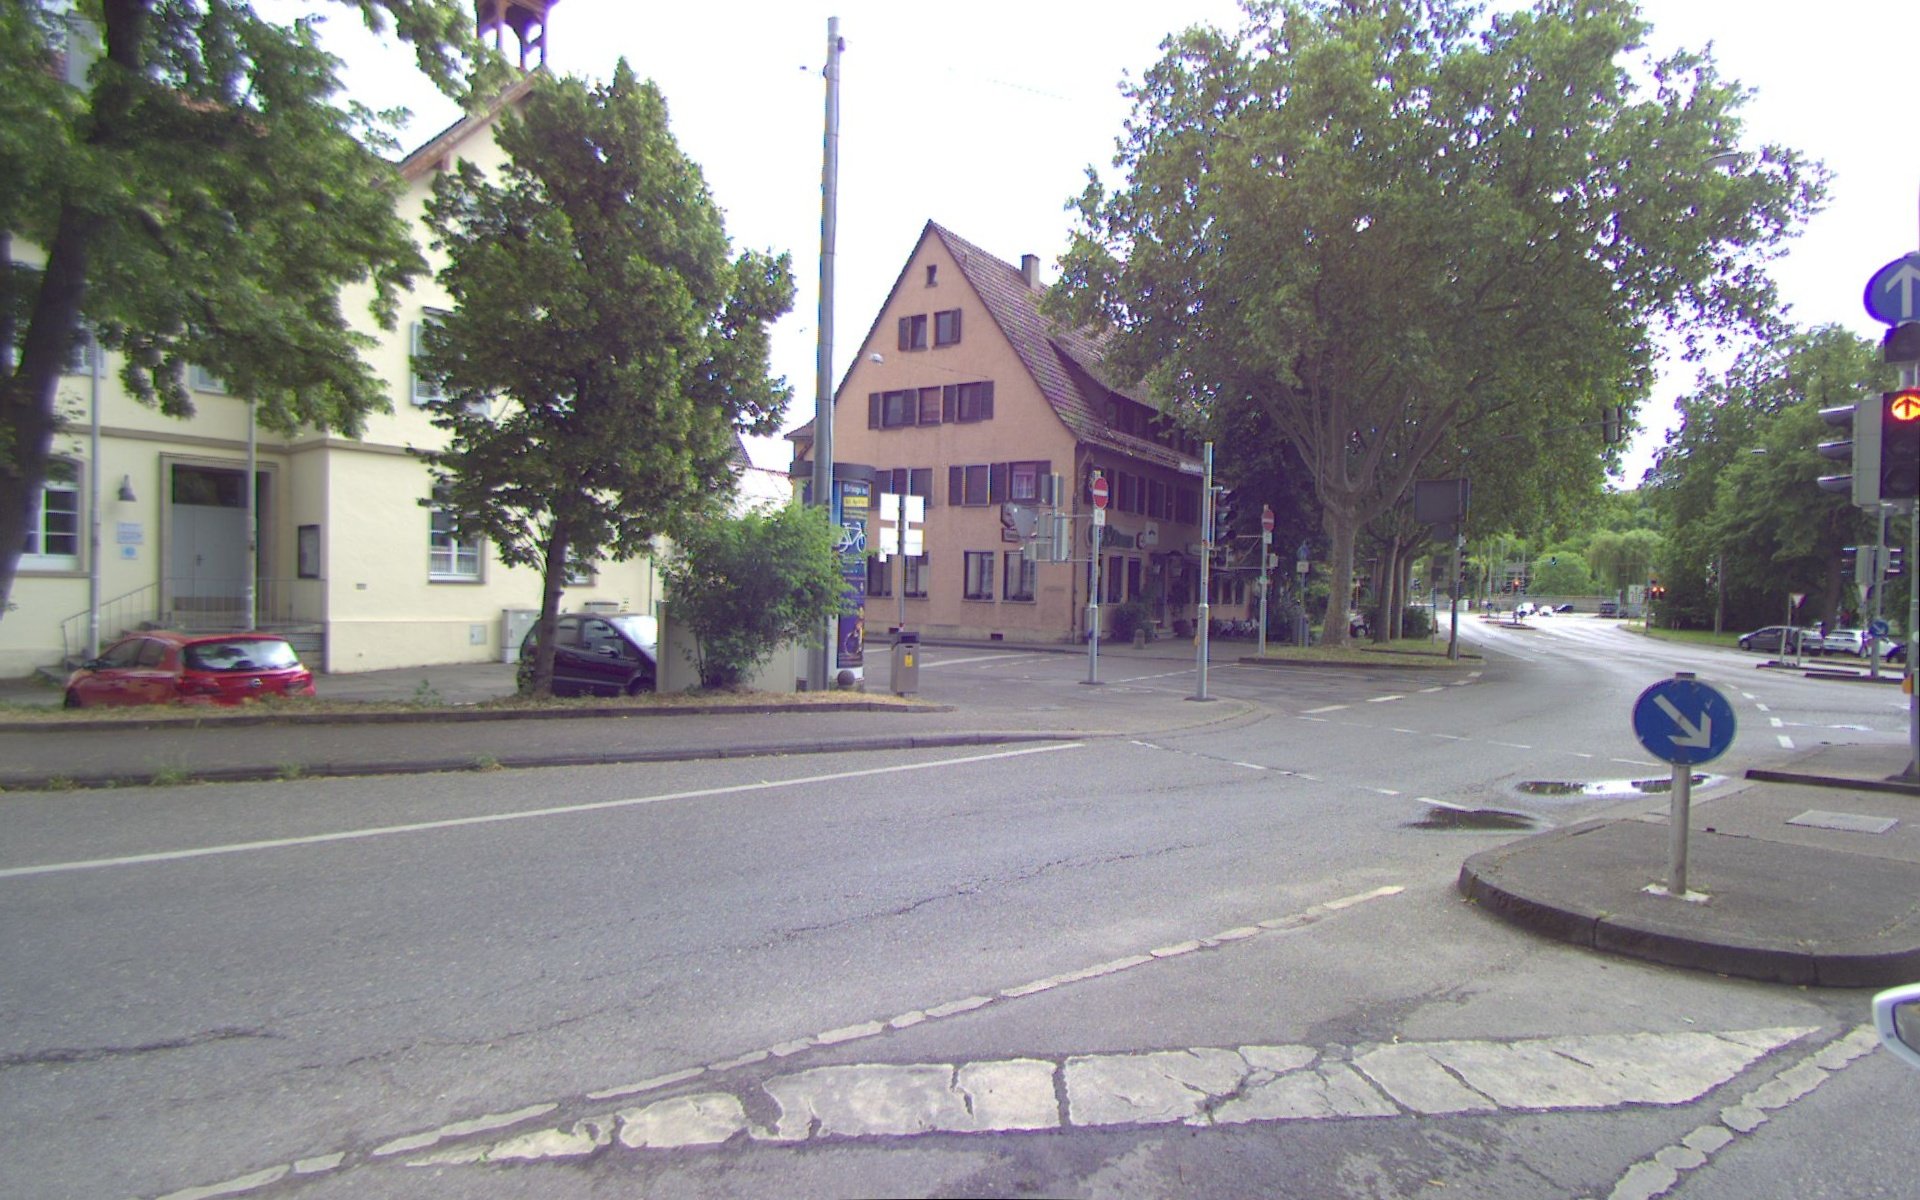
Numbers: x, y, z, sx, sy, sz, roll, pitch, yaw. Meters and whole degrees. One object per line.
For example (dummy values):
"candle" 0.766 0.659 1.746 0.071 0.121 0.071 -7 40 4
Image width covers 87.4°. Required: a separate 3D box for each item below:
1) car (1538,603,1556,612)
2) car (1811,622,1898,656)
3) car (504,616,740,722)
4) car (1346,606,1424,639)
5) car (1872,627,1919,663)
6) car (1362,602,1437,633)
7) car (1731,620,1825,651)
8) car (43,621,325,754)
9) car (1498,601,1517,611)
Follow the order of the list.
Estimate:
"car" 90.869 1.169 155.531 1.469 1.436 3.028 3 0 11
"car" 47.462 2.042 53.326 3.696 1.662 1.859 2 0 -19
"car" -5.532 1.054 16.442 3.507 1.459 1.644 2 0 26
"car" 23.997 1.253 56.708 3.924 1.706 1.998 1 0 25
"car" 39.447 1.863 40.765 1.746 1.370 3.326 2 0 -2
"car" 25.730 1.009 58.784 3.924 1.706 1.998 1 0 25
"car" 43.819 1.880 53.907 1.592 1.485 3.778 2 0 -11
"car" -10.288 1.049 13.284 3.653 1.401 1.659 2 0 30
"car" 85.373 0.988 156.639 1.553 1.506 3.337 3 0 12
